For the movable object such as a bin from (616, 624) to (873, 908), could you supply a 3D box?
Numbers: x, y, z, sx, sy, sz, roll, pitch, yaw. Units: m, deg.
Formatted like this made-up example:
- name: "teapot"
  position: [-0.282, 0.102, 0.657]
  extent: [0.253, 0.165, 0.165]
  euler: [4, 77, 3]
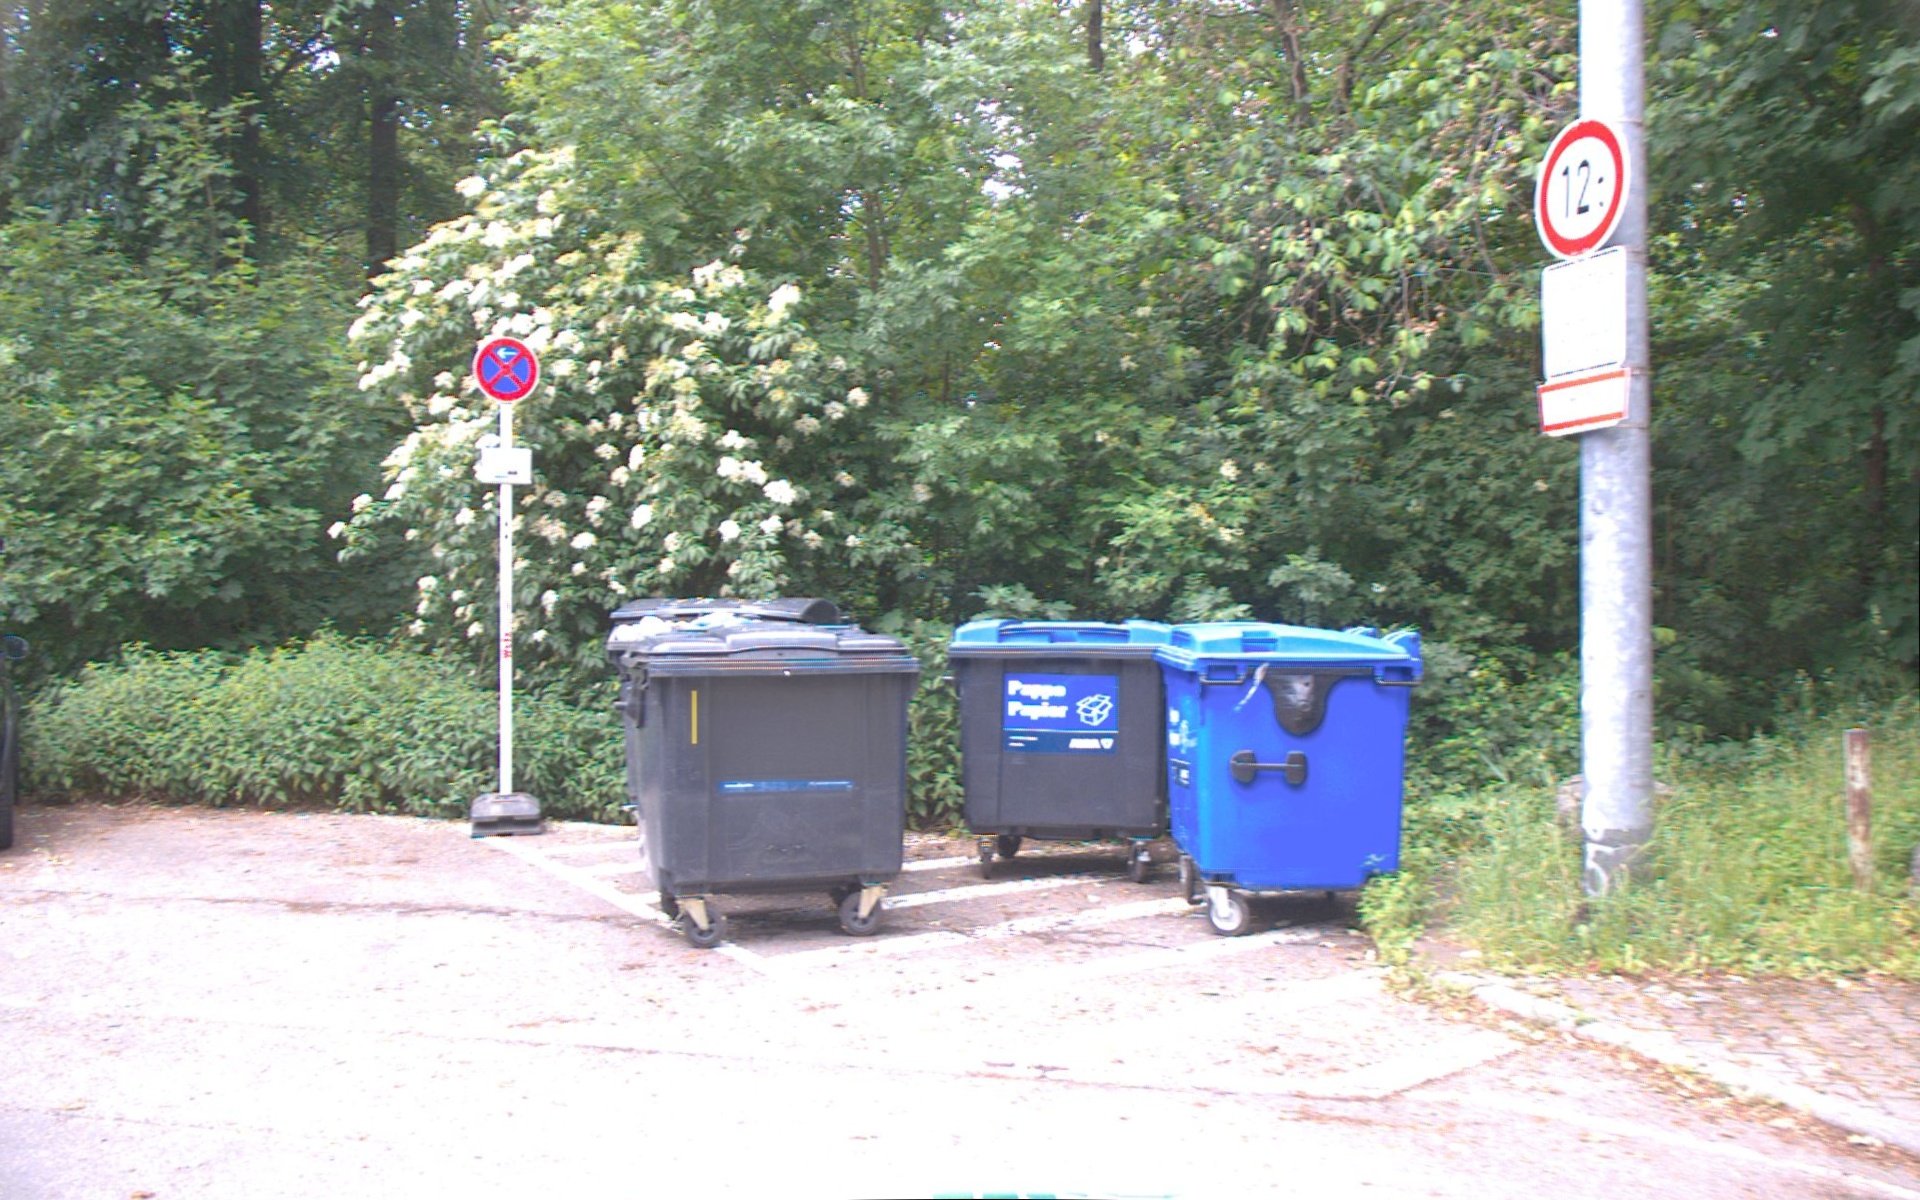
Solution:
- name: "movable object such as a bin"
  position: [-1.142, 0.799, 8.561]
  extent: [1.162, 1.338, 1.122]
  euler: [0, -1, -17]

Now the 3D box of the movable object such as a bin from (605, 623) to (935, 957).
- name: "movable object such as a bin"
  position: [-0.885, 0.771, 7.391]
  extent: [1.288, 1.330, 1.167]
  euler: [0, -1, -17]

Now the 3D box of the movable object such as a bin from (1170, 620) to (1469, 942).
- name: "movable object such as a bin"
  position: [1.603, 0.772, 7.626]
  extent: [1.119, 1.348, 1.257]
  euler: [0, -1, 1]

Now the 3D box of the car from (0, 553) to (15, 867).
- name: "car"
  position: [-6.933, 0.595, 10.334]
  extent: [1.760, 1.714, 4.030]
  euler: [0, 0, -30]

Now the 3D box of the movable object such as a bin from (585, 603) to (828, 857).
- name: "movable object such as a bin"
  position: [-1.528, 0.747, 10.159]
  extent: [1.103, 1.450, 1.128]
  euler: [0, -1, 16]

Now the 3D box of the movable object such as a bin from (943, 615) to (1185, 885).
- name: "movable object such as a bin"
  position: [0.595, 0.756, 8.923]
  extent: [1.209, 1.343, 1.128]
  euler: [0, -1, 8]
